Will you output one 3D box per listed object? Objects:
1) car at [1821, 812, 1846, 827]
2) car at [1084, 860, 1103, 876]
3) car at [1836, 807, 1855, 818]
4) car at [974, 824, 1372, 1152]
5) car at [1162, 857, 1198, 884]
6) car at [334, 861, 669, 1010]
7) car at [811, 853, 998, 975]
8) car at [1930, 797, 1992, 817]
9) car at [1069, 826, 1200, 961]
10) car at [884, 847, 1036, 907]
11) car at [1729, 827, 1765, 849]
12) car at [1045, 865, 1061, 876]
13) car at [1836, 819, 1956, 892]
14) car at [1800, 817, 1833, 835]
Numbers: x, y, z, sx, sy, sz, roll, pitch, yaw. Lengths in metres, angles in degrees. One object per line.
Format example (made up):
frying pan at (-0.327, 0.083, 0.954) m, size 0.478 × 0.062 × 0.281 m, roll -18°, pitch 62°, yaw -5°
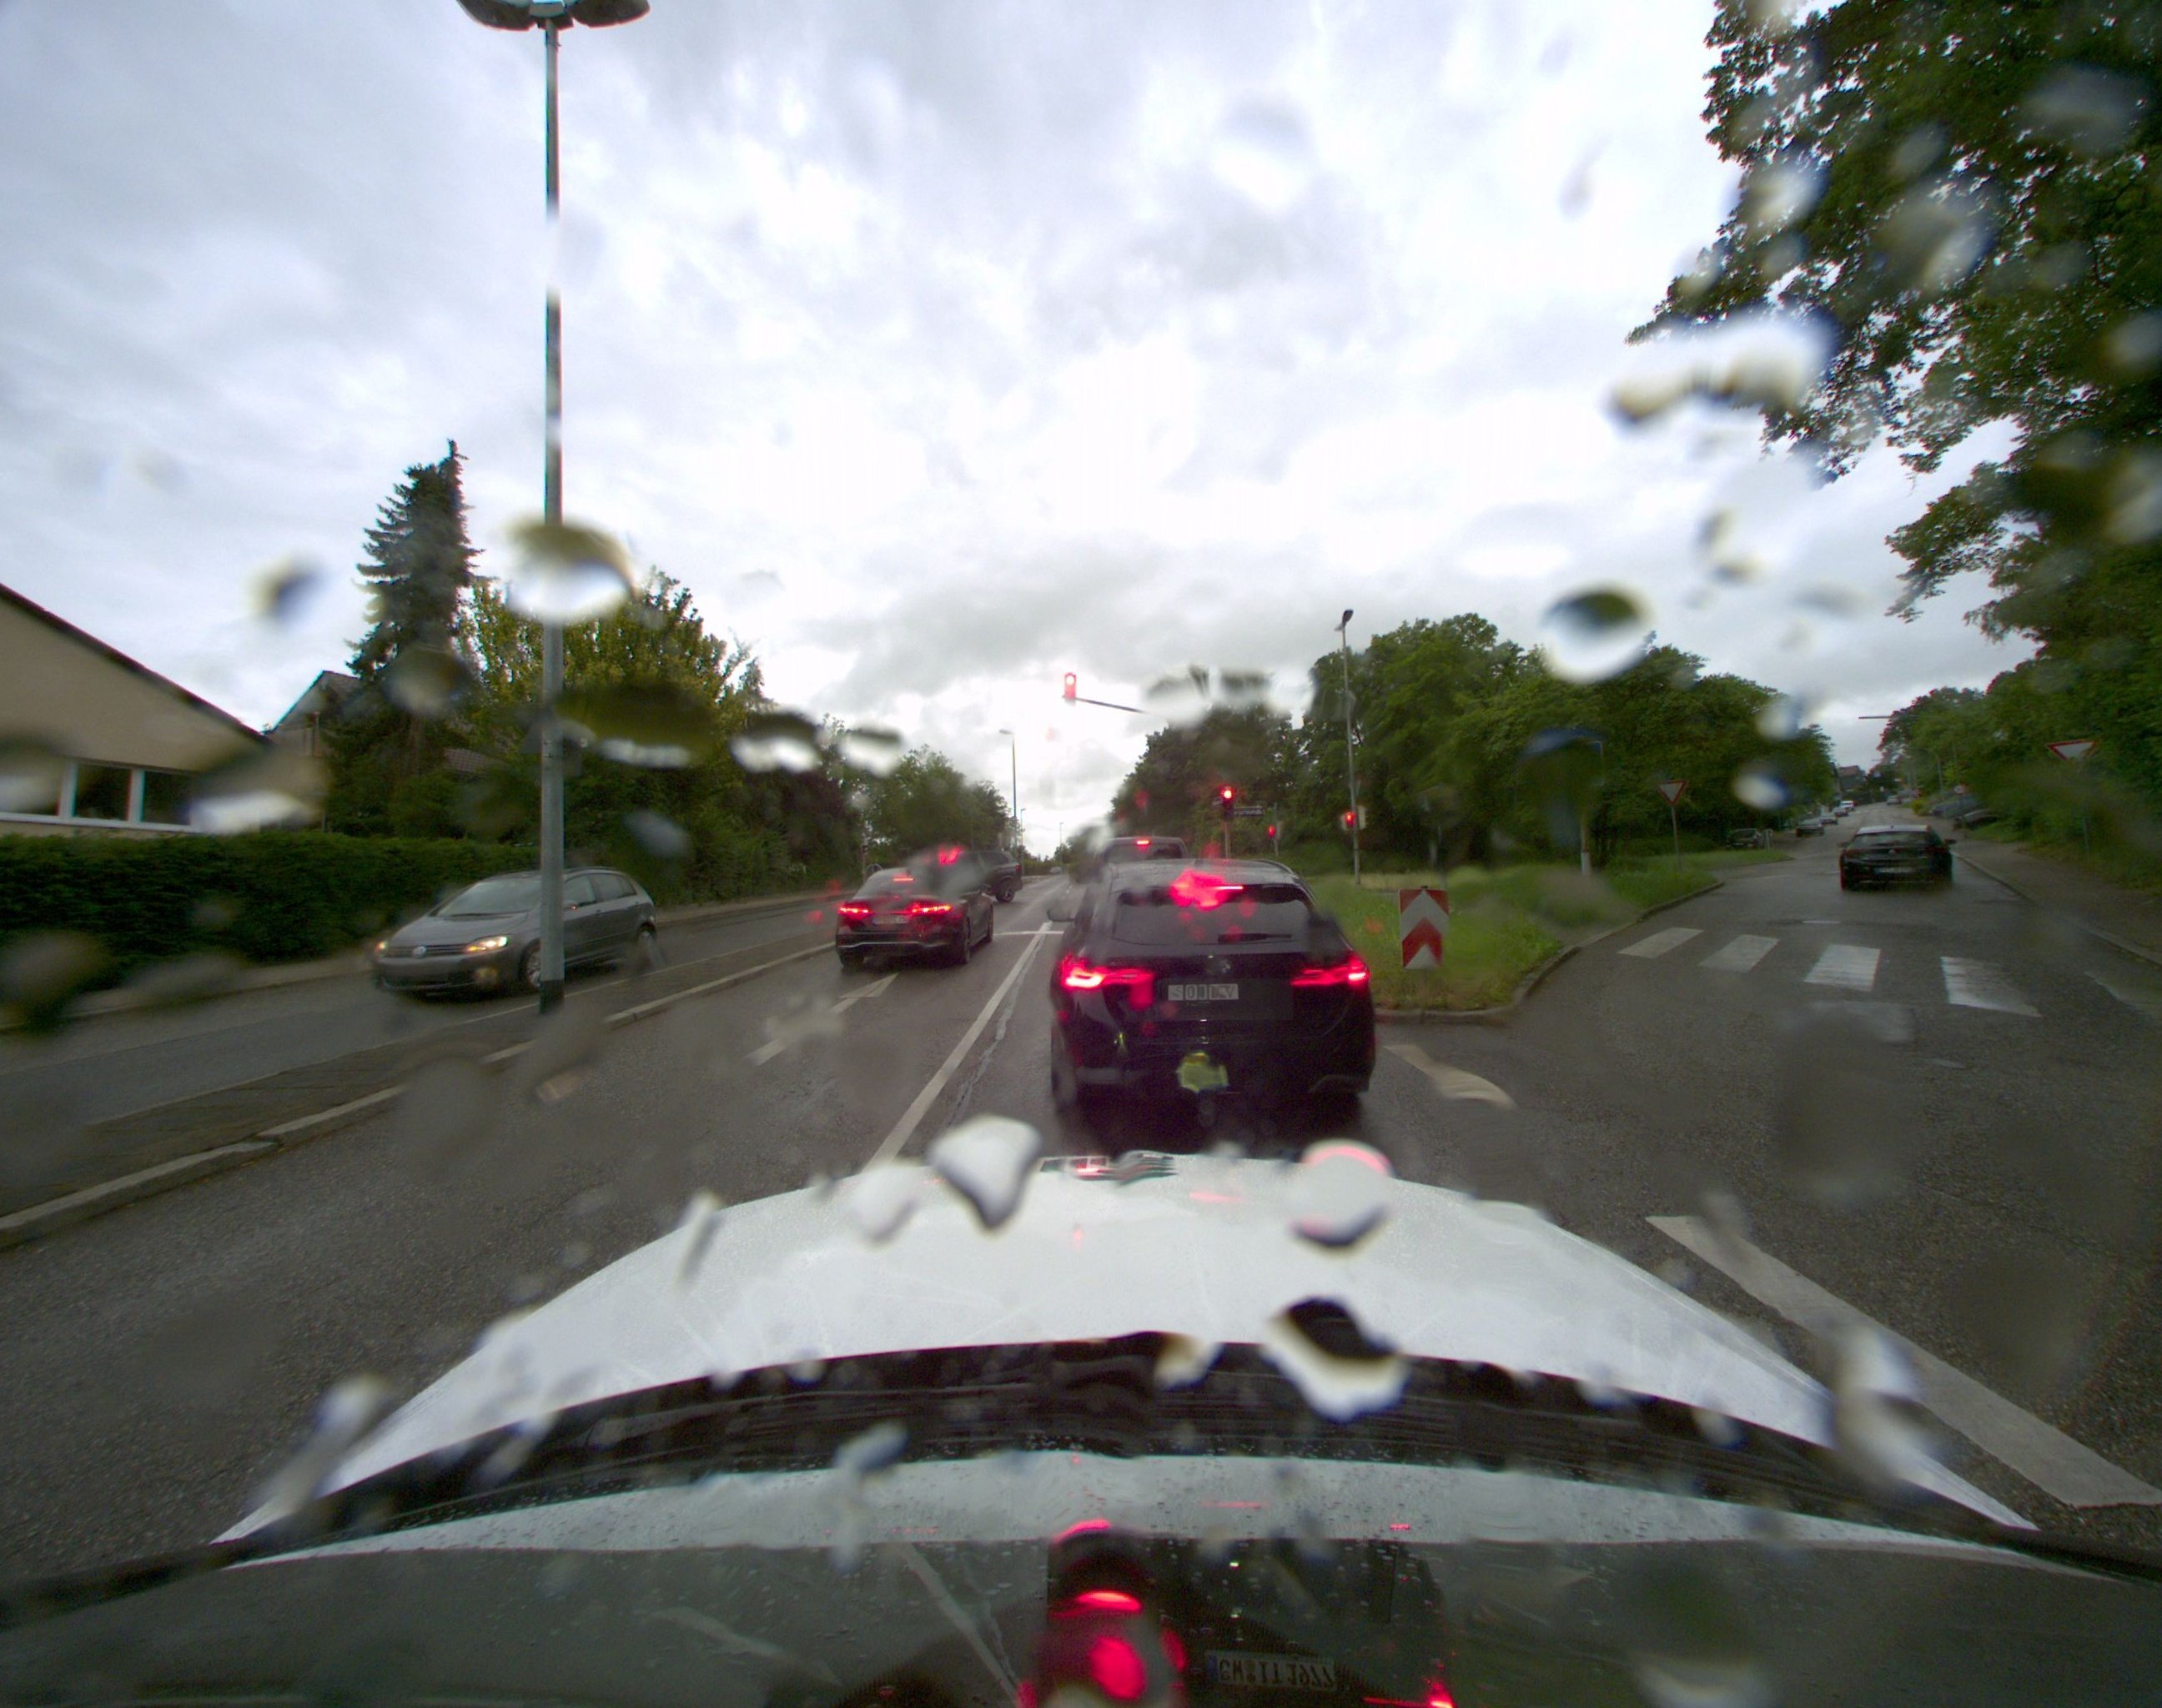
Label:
car at (88.220, -4.019, 95.497) m, size 1.971 × 1.446 × 4.321 m, roll -2°, pitch -1°, yaw 40°
car at (1.277, 1.335, 80.340) m, size 1.691 × 1.427 × 3.515 m, roll -4°, pitch -1°, yaw 2°
car at (114.517, -6.176, 122.018) m, size 1.880 × 1.397 × 4.193 m, roll -2°, pitch -1°, yaw 40°
car at (0.643, 0.693, 6.241) m, size 1.889 × 1.551 × 4.621 m, roll -1°, pitch -1°, yaw 5°
car at (6.336, 1.029, 52.401) m, size 1.866 × 1.543 × 3.954 m, roll -4°, pitch -1°, yaw 2°
car at (-7.726, 0.957, 11.442) m, size 1.737 × 1.602 × 4.031 m, roll -3°, pitch 0°, yaw 0°
car at (-2.605, 0.835, 13.174) m, size 1.987 × 1.527 × 4.326 m, roll -4°, pitch -1°, yaw 0°
car at (87.626, -4.667, 81.141) m, size 3.949 × 1.574 × 1.785 m, roll -5°, pitch -1°, yaw 42°
car at (0.829, 0.578, 13.445) m, size 1.811 × 1.868 × 3.954 m, roll -1°, pitch -1°, yaw 2°
car at (-3.924, 0.722, 27.012) m, size 1.974 × 1.717 × 4.747 m, roll -3°, pitch 0°, yaw 42°
car at (46.028, -1.116, 56.256) m, size 1.655 × 1.370 × 3.511 m, roll -3°, pitch 0°, yaw 43°
car at (-4.757, 2.876, 141.098) m, size 1.982 × 1.826 × 4.009 m, roll -4°, pitch -1°, yaw 8°
car at (19.197, -0.002, 19.191) m, size 4.187 × 1.442 × 1.795 m, roll -4°, pitch 1°, yaw -44°
car at (66.284, -2.499, 73.370) m, size 4.318 × 1.450 × 1.881 m, roll 0°, pitch -1°, yaw -44°
